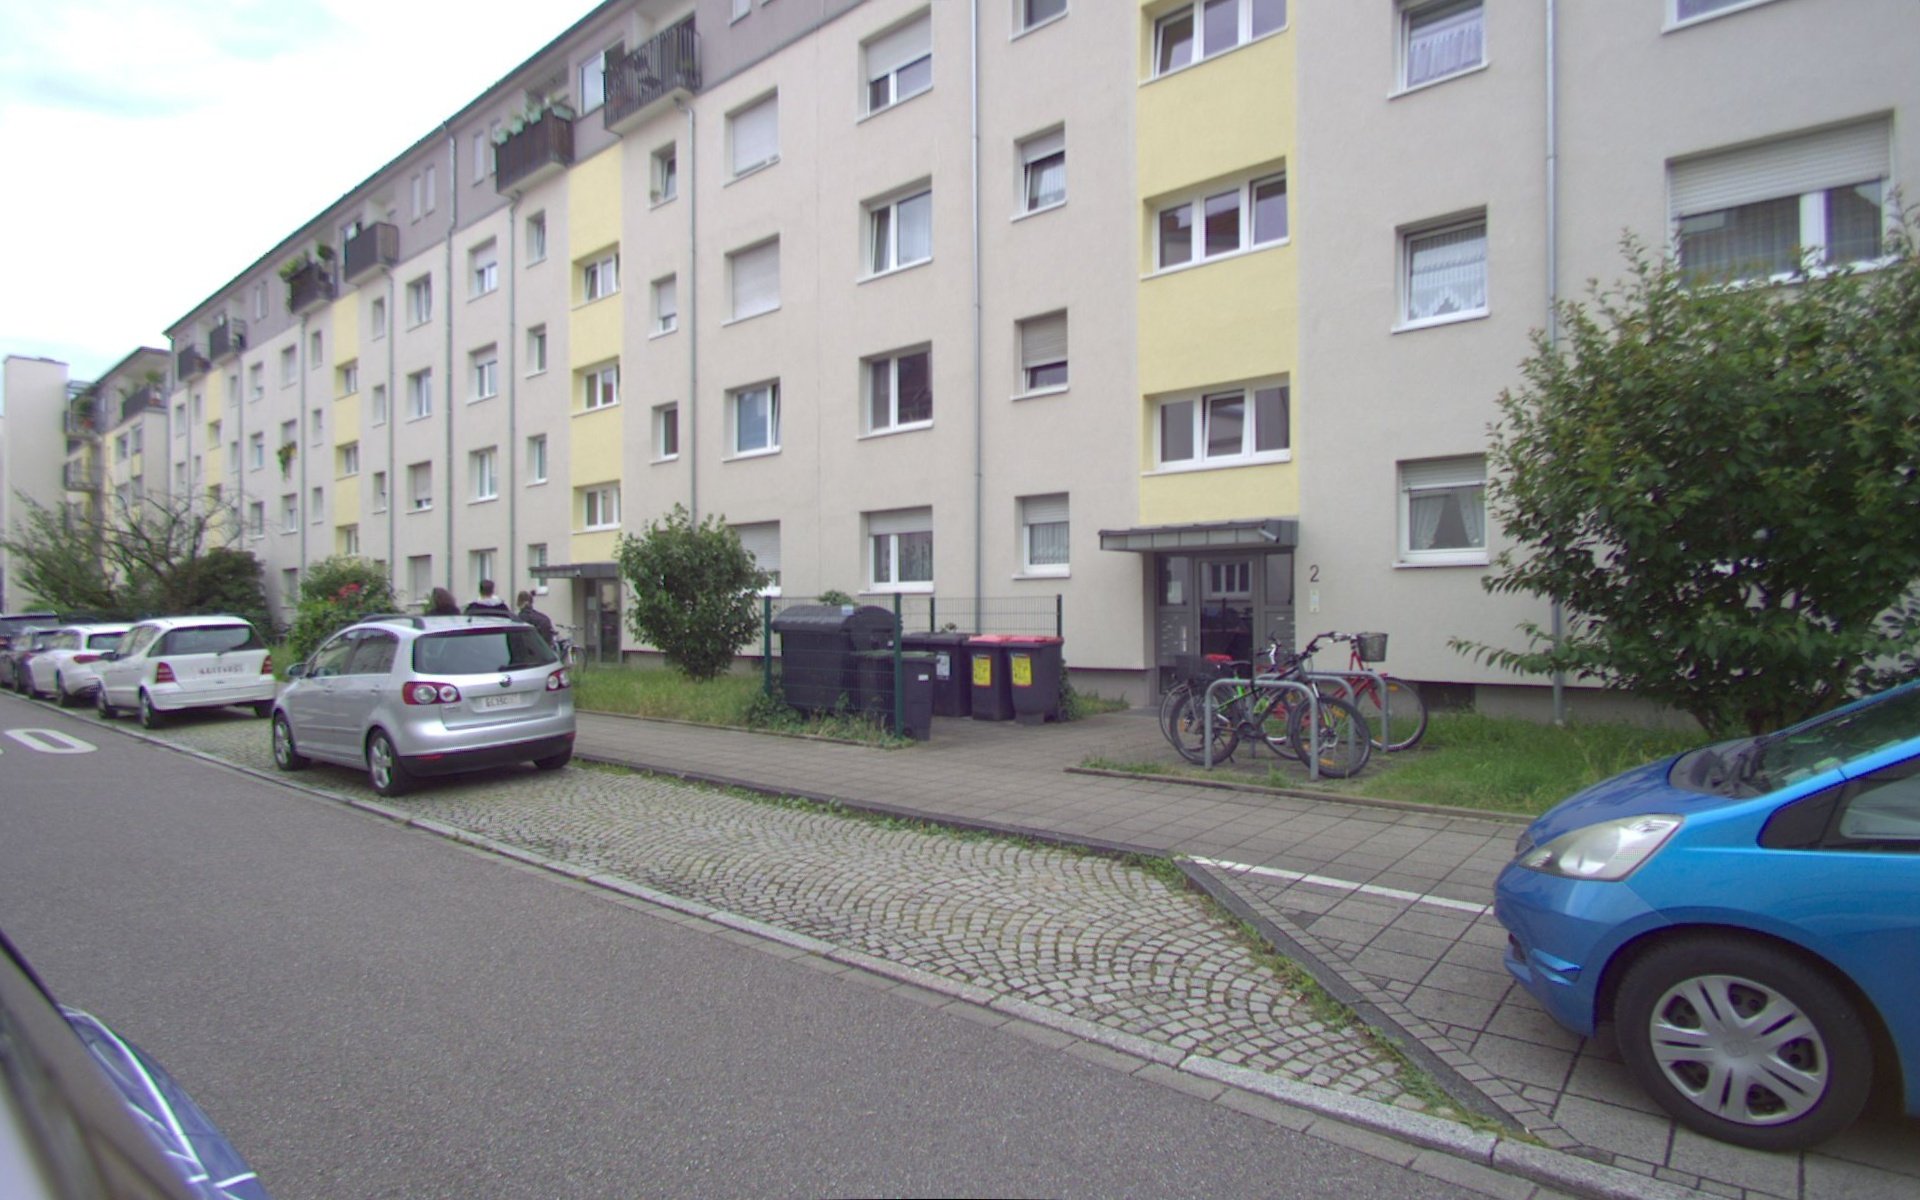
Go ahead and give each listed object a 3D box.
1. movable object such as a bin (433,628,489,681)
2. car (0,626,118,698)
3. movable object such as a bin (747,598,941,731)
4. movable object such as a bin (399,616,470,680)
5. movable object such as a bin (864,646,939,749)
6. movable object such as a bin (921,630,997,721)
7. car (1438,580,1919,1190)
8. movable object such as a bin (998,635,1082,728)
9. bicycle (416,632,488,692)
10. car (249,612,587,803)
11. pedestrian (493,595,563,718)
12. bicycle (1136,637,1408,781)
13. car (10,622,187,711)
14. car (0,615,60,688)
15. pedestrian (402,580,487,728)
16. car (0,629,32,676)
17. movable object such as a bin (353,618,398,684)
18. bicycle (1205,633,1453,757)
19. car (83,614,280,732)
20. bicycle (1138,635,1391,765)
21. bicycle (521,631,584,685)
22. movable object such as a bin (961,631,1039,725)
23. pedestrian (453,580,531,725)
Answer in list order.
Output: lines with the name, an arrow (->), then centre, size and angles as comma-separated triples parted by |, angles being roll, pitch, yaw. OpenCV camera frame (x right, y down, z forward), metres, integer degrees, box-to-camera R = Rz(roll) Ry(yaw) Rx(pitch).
movable object such as a bin -> -11.165, 1.209, 22.647 | 0.786, 1.117, 0.861 | 0, 0, 36
car -> -20.724, 1.323, 22.873 | 4.476, 1.464, 1.709 | -1, -1, 38
movable object such as a bin -> -1.372, 0.718, 12.044 | 1.669, 1.432, 1.573 | -2, -1, 39
movable object such as a bin -> -12.064, 1.077, 23.238 | 1.187, 1.385, 1.047 | 0, 0, 35
movable object such as a bin -> -0.623, 1.015, 10.782 | 0.597, 1.041, 0.531 | -2, -2, 39
movable object such as a bin -> -0.008, 0.965, 13.181 | 0.597, 1.125, 0.834 | -2, -2, 38
car -> 3.581, 0.675, 2.568 | 3.954, 1.473, 1.713 | -2, 1, 40
movable object such as a bin -> 0.978, 0.963, 12.306 | 0.633, 1.059, 0.855 | -2, -2, 39
bicycle -> -9.352, 1.116, 18.598 | 1.877, 1.032, 0.483 | -2, -2, 40
car -> -5.574, 0.938, 10.215 | 3.911, 1.562, 1.638 | -2, -1, 39
pedestrian -> -6.037, 0.772, 14.152 | 0.802, 1.669, 0.608 | -2, -2, 40
bicycle -> 2.594, 0.867, 8.626 | 2.121, 1.076, 0.650 | -2, -2, 41
car -> -16.733, 1.221, 19.574 | 4.680, 1.521, 1.702 | -2, -2, 38
car -> -25.305, 1.349, 26.788 | 4.447, 1.793, 1.555 | -2, -2, 40
pedestrian -> -6.861, 0.693, 13.472 | 0.973, 1.877, 0.633 | -2, 0, 40
car -> -30.275, 1.626, 31.447 | 3.537, 1.408, 1.556 | -2, -2, 38
movable object such as a bin -> -12.592, 1.086, 21.800 | 0.586, 1.378, 0.651 | 0, 0, 36
bicycle -> 3.543, 0.874, 9.876 | 2.174, 1.079, 0.651 | -2, -2, 41
car -> -12.389, 1.071, 16.044 | 3.723, 1.651, 1.668 | -2, -1, 39
bicycle -> 2.788, 0.873, 9.457 | 2.174, 1.079, 0.651 | -2, -2, 41
bicycle -> -8.014, 1.125, 19.875 | 1.556, 1.032, 0.416 | -2, -1, 37
movable object such as a bin -> 0.511, 0.965, 12.767 | 0.597, 1.125, 0.834 | -2, -2, 38
pedestrian -> -6.280, 0.683, 13.586 | 0.762, 1.868, 0.699 | -2, -2, 40
